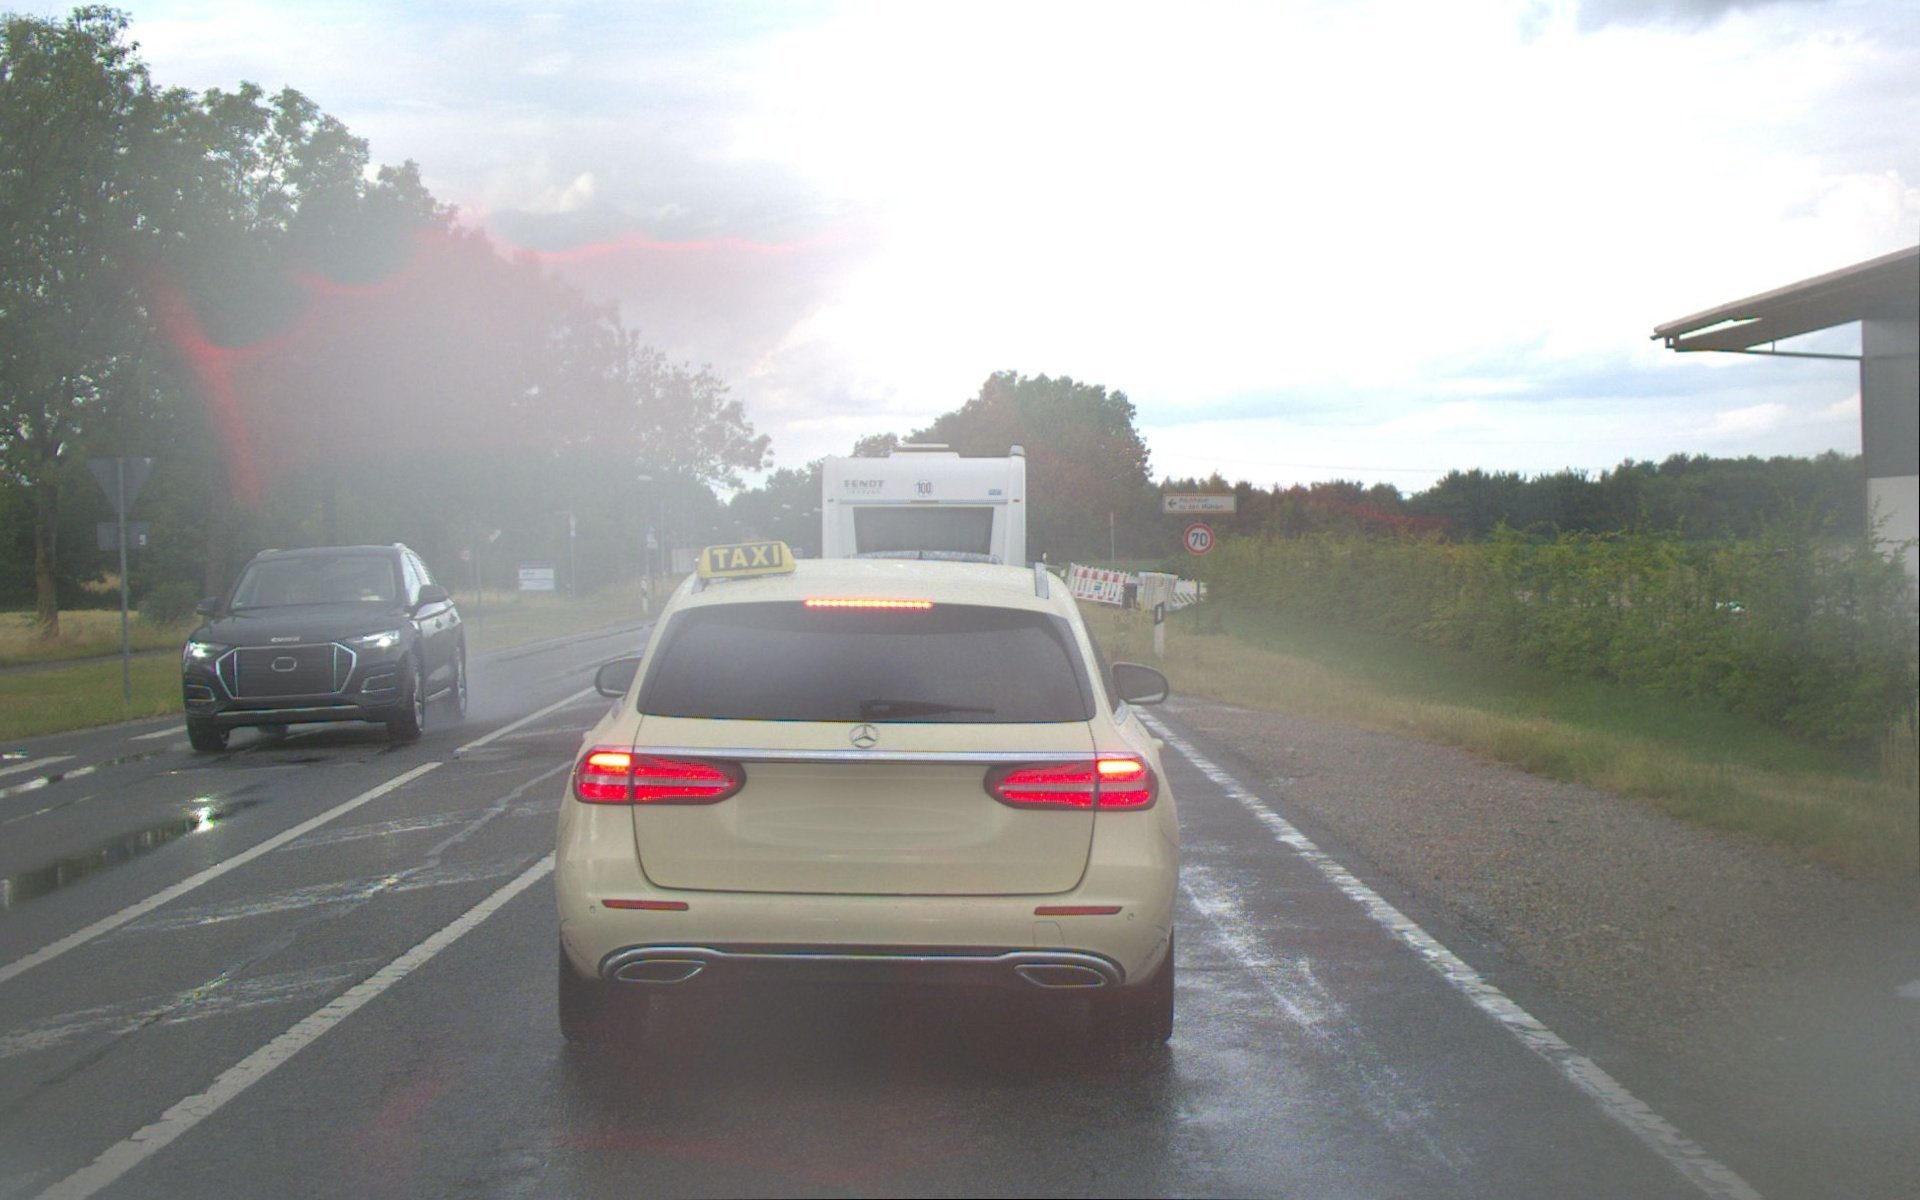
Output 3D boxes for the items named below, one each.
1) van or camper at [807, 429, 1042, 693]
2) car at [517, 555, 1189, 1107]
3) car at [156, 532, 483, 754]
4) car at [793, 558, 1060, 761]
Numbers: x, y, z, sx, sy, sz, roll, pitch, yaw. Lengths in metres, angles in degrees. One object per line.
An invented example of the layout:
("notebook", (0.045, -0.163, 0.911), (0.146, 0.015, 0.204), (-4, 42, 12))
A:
("van or camper", (-0.372, -0.465, 40.736), (2.497, 2.821, 5.934), (-2, 1, 0))
("car", (-0.291, 0.595, 11.251), (1.797, 1.459, 4.031), (0, 1, 0))
("car", (-5.384, 0.316, 29.454), (1.916, 1.626, 4.357), (-4, 1, -1))
("car", (-0.279, 0.398, 26.340), (1.894, 1.424, 3.928), (0, 1, -1))
